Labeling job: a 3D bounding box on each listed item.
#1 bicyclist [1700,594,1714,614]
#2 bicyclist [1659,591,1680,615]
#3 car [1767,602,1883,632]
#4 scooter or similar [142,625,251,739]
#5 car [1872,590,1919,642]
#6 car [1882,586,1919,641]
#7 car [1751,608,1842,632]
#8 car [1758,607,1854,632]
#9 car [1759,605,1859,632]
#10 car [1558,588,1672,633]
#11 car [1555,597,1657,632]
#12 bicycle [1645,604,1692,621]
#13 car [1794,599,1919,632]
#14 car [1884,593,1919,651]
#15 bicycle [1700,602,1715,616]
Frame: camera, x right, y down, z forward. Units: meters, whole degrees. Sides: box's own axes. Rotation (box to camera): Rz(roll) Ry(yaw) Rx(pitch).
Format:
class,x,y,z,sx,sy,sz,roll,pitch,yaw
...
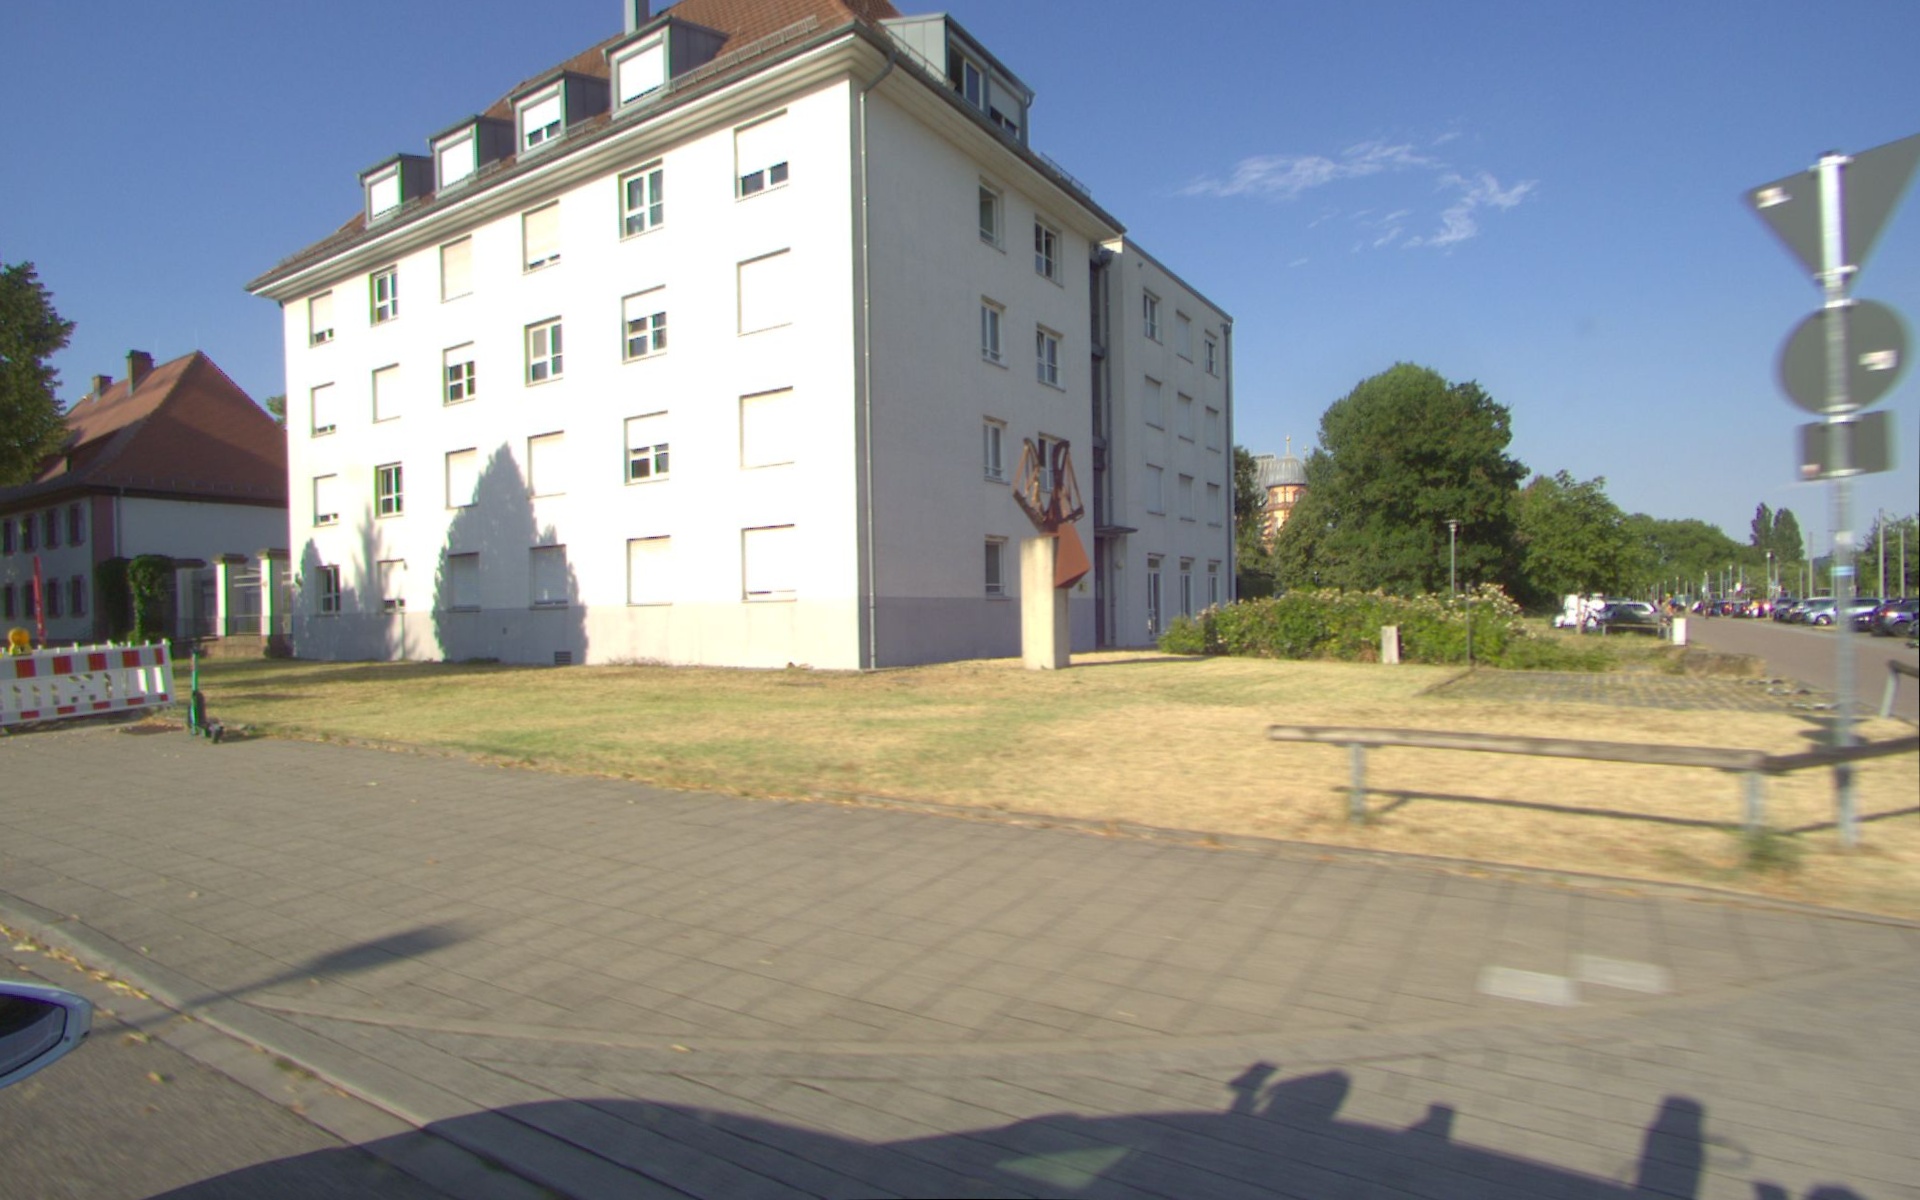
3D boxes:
class,x,y,z,sx,sy,sz,roll,pitch,yaw
bicyclist,60.302,0.324,80.834,0.739,1.545,0.889,-1,0,29
bicyclist,47.434,0.207,66.917,0.814,1.613,0.928,-1,0,-36
car,51.756,1.032,60.096,4.989,1.725,2.256,-2,-1,34
scooter or similar,-9.534,0.989,12.496,1.442,1.310,0.557,-1,4,34
car,39.653,0.603,39.584,4.989,2.040,2.256,-2,-1,34
car,37.960,0.457,37.277,4.989,2.040,2.256,-2,-1,34
car,62.889,1.517,75.400,4.989,1.725,2.256,-2,-1,34
car,60.642,1.395,71.928,4.989,1.725,2.256,-2,-1,34
car,58.284,1.296,68.885,4.989,1.725,2.256,-2,-1,34
car,27.709,0.447,42.490,3.943,1.817,1.883,-1,0,32
car,30.183,0.683,46.938,3.943,1.550,1.989,-1,0,32
bicycle,47.353,0.826,66.942,0.669,1.095,2.518,-1,0,-39
car,49.760,0.855,55.617,4.989,1.725,2.256,-2,-1,34
car,36.163,0.730,35.243,4.989,2.040,2.256,-2,-1,34
bicycle,60.258,0.751,80.701,0.612,1.090,2.395,-1,0,29
